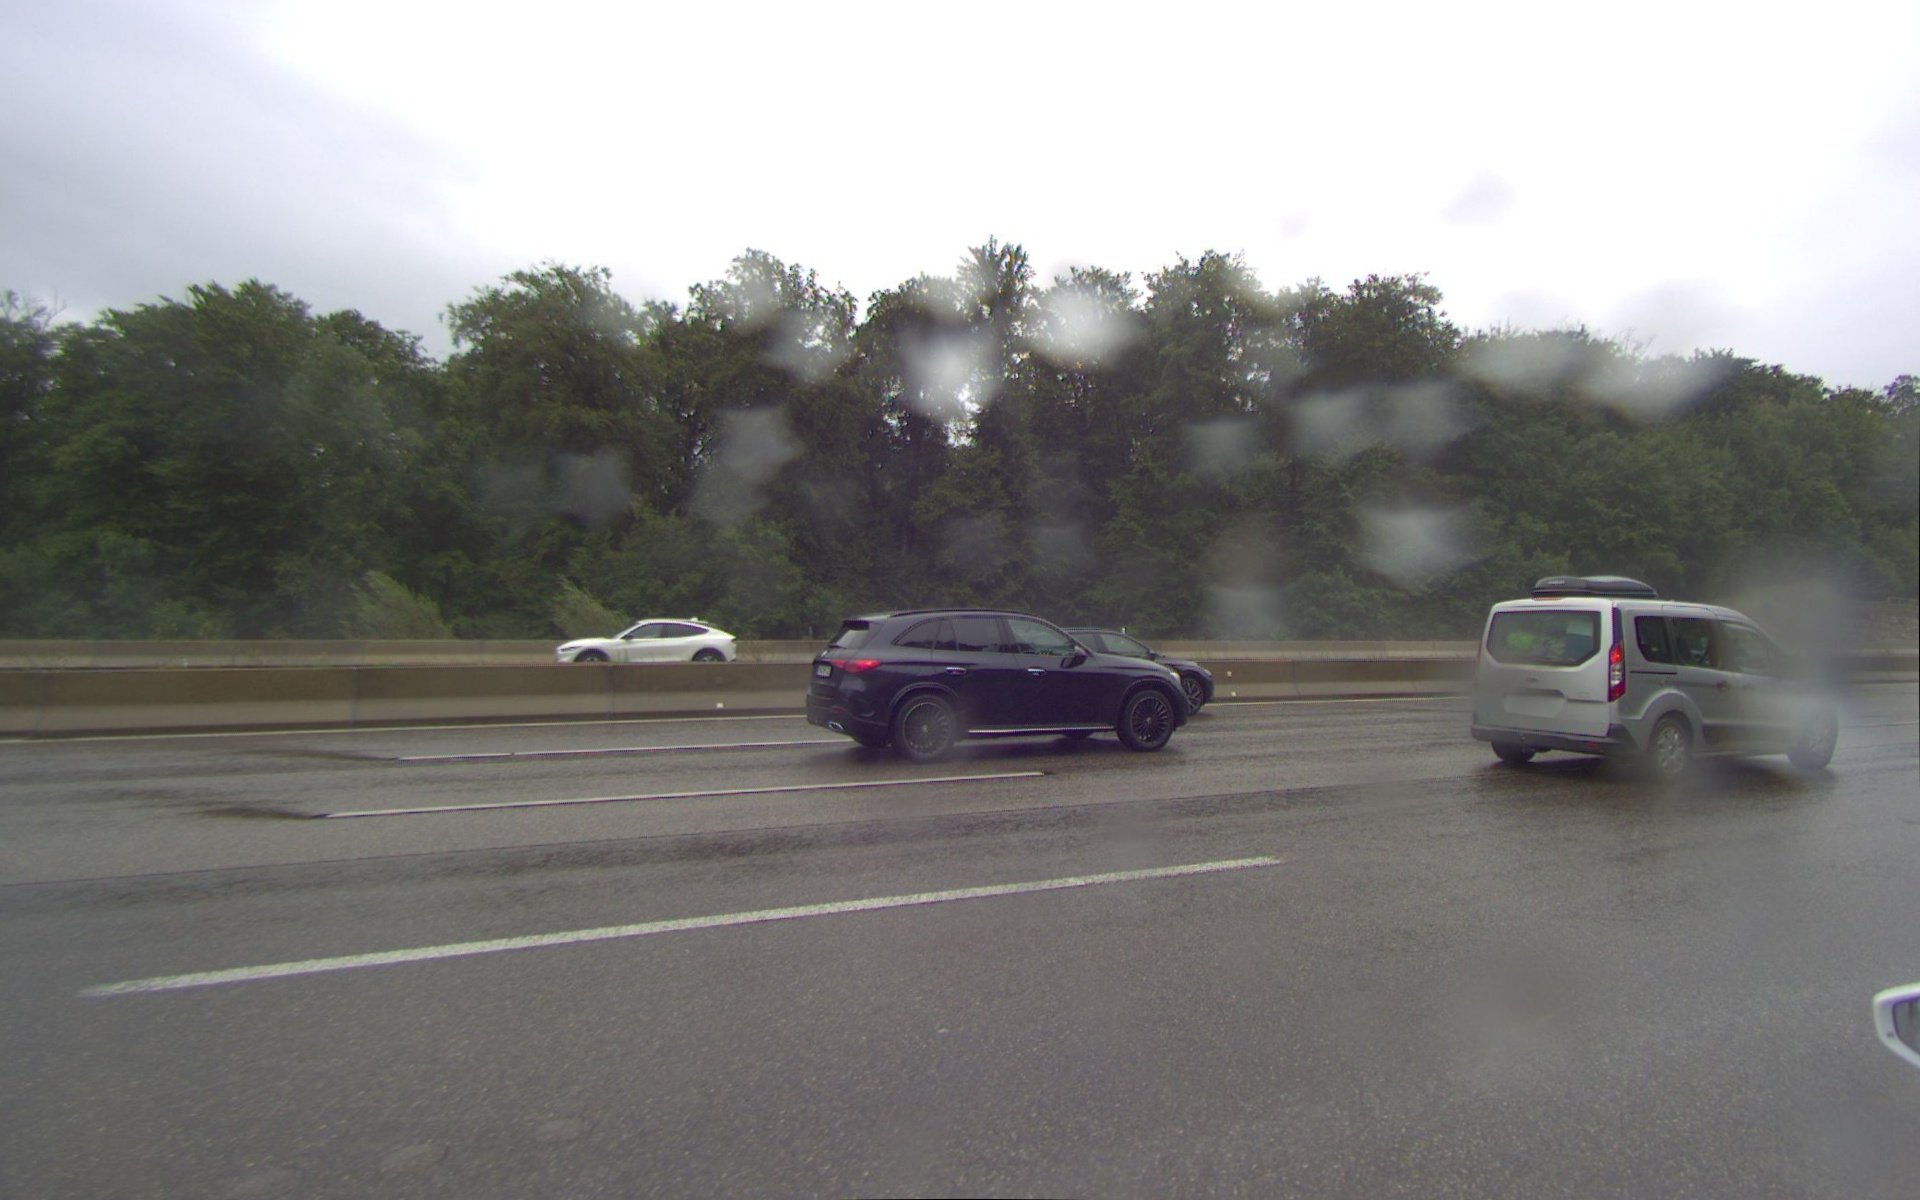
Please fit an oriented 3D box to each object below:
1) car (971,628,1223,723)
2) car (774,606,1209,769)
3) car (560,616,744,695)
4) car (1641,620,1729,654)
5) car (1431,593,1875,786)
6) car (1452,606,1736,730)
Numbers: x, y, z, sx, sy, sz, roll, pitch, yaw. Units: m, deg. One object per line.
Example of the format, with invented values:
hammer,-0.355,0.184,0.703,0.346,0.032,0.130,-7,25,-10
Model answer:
car,2.319,1.208,16.922,3.944,1.423,1.668,1,-1,-24
car,0.376,0.927,11.834,4.739,1.615,1.989,1,-1,-23
car,-8.261,1.447,26.962,4.522,1.970,1.989,1,-1,-24
car,37.578,1.916,52.030,4.312,1.706,1.804,1,-1,-24
car,7.573,0.885,10.984,4.501,1.774,1.842,1,-2,-22
car,10.382,1.053,16.480,4.095,1.822,1.989,1,-1,-23
